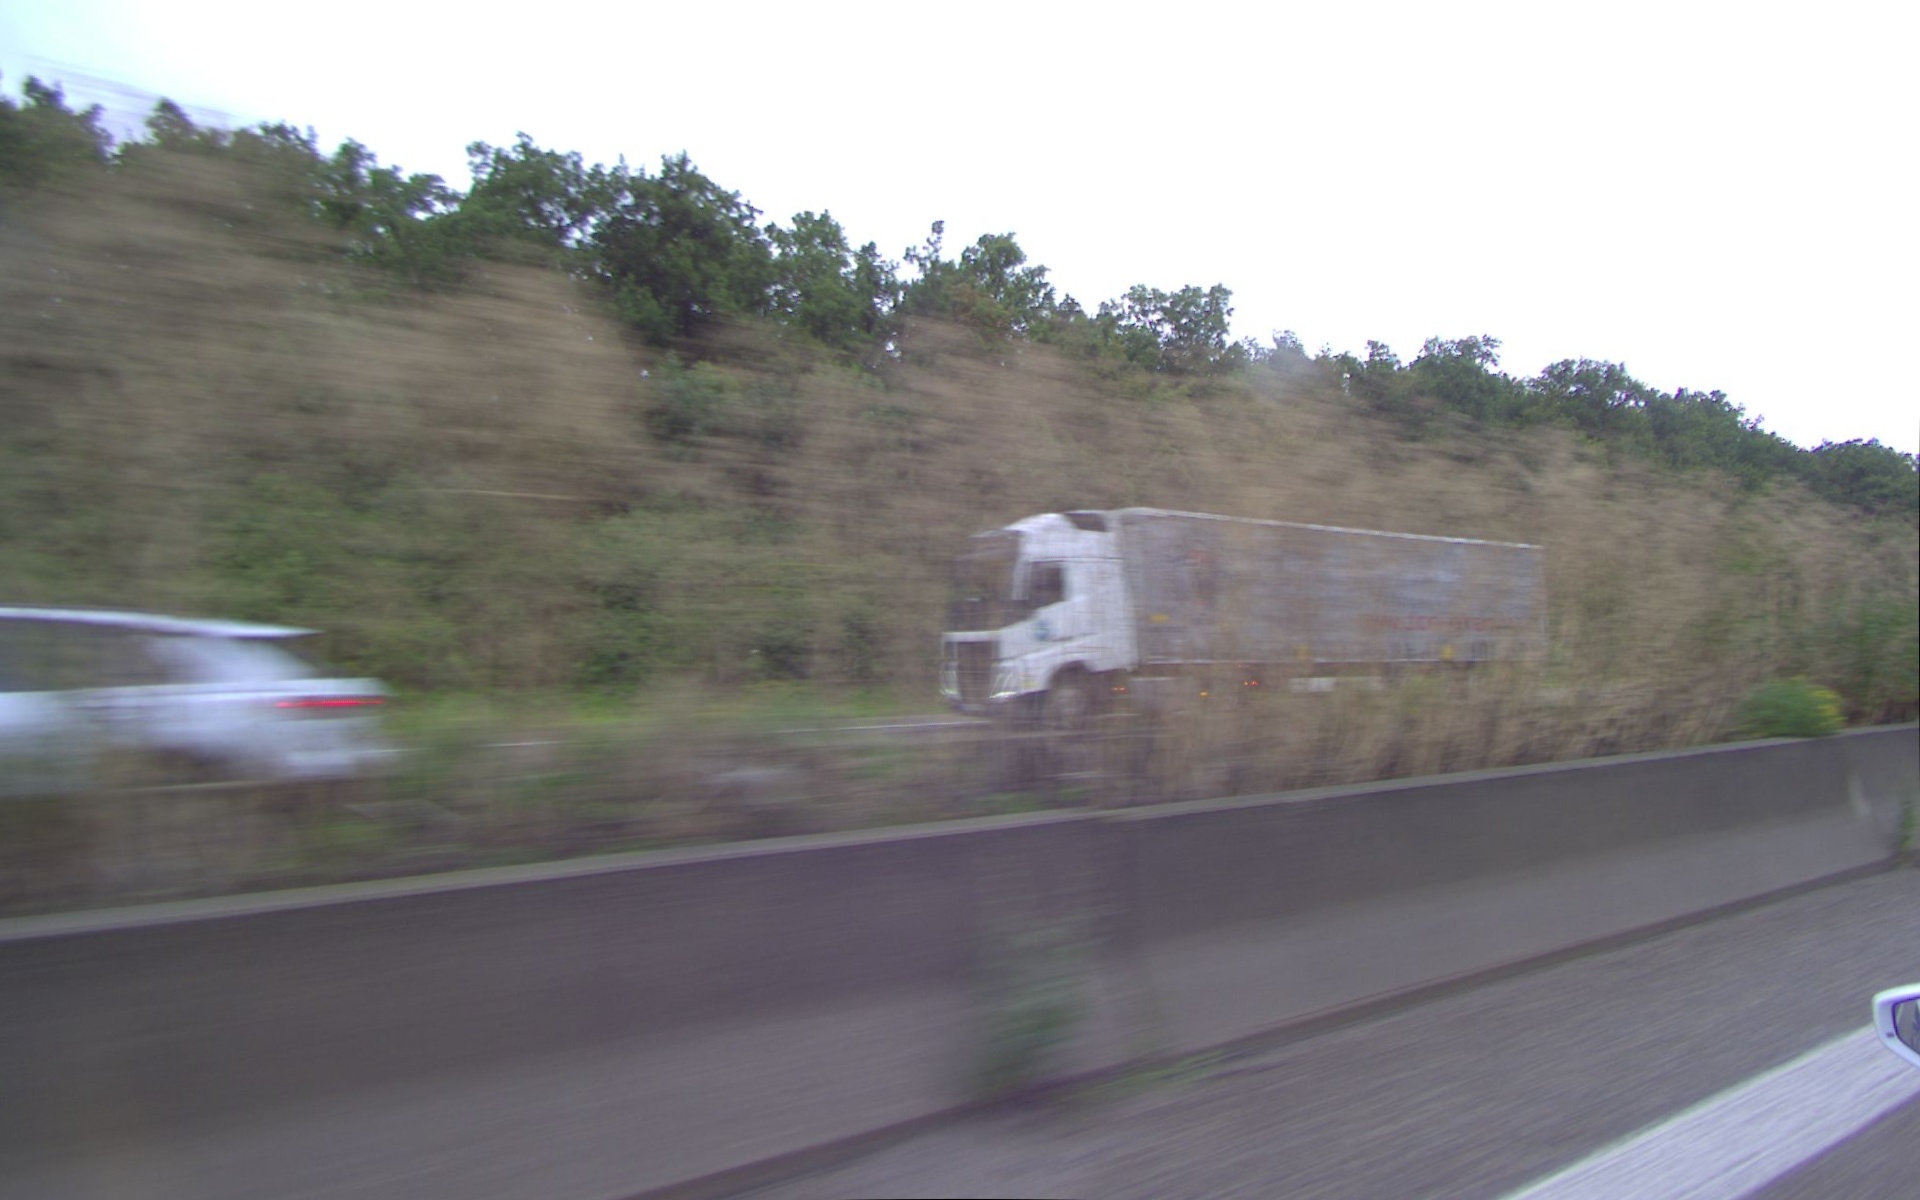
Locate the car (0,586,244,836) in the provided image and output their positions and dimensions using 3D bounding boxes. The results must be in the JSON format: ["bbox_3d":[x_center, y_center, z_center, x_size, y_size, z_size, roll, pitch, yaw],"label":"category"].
[{"bbox_3d":[-5.978,0.547,5.277,3.439,1.254,1.599,2,-2,-31],"label":"car"}]

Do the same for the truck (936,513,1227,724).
[{"bbox_3d":[2.307,0.395,19.185,4.713,3.513,2.978,1,-2,-30],"label":"truck"}]

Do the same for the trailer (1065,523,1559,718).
[{"bbox_3d":[8.530,0.553,22.906,13.103,3.531,2.973,1,-2,-31],"label":"trailer"}]
